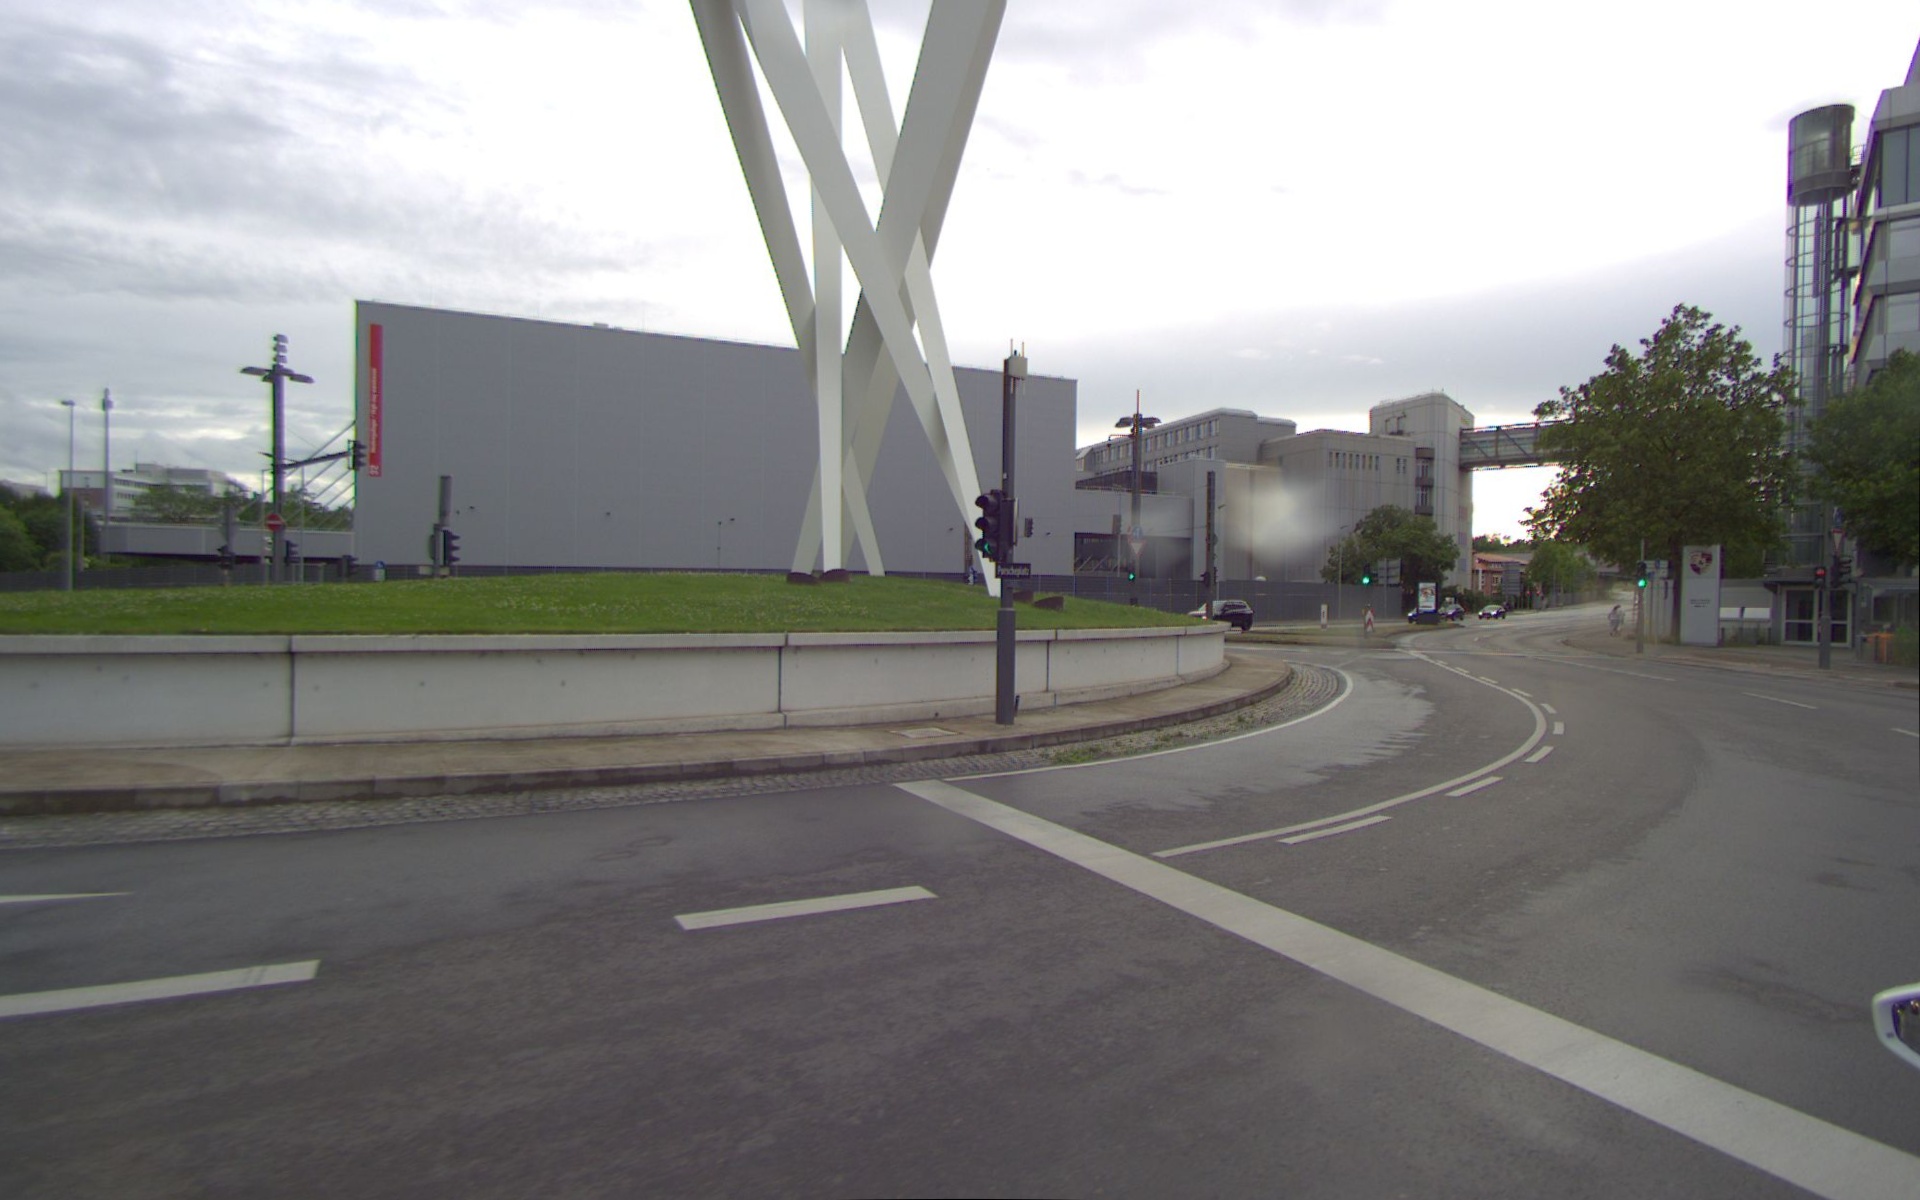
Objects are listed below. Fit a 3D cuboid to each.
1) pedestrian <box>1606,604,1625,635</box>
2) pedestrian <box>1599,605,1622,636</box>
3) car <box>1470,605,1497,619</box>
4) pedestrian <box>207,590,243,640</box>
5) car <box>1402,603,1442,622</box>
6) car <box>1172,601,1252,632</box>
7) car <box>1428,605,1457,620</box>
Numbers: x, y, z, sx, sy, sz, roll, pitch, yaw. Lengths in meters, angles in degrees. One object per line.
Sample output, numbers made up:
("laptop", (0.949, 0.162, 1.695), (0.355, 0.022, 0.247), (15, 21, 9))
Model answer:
("pedestrian", (34.481, 0.999, 52.853), (0.701, 1.613, 0.836), (1, 1, 43))
("pedestrian", (33.225, 1.040, 51.287), (0.822, 1.541, 0.837), (1, 1, 43))
("car", (56.206, 1.260, 107.873), (1.761, 1.403, 4.527), (-2, -1, 38))
("pedestrian", (-27.548, 0.567, 37.660), (0.637, 1.827, 0.853), (2, 0, 26))
("car", (37.240, 1.004, 80.910), (1.762, 1.459, 4.372), (1, 1, 41))
("car", (13.702, 0.859, 54.590), (4.523, 1.609, 1.770), (0, 1, -37))
("car", (47.145, 1.233, 98.091), (1.760, 1.473, 4.543), (-1, -1, 37))
